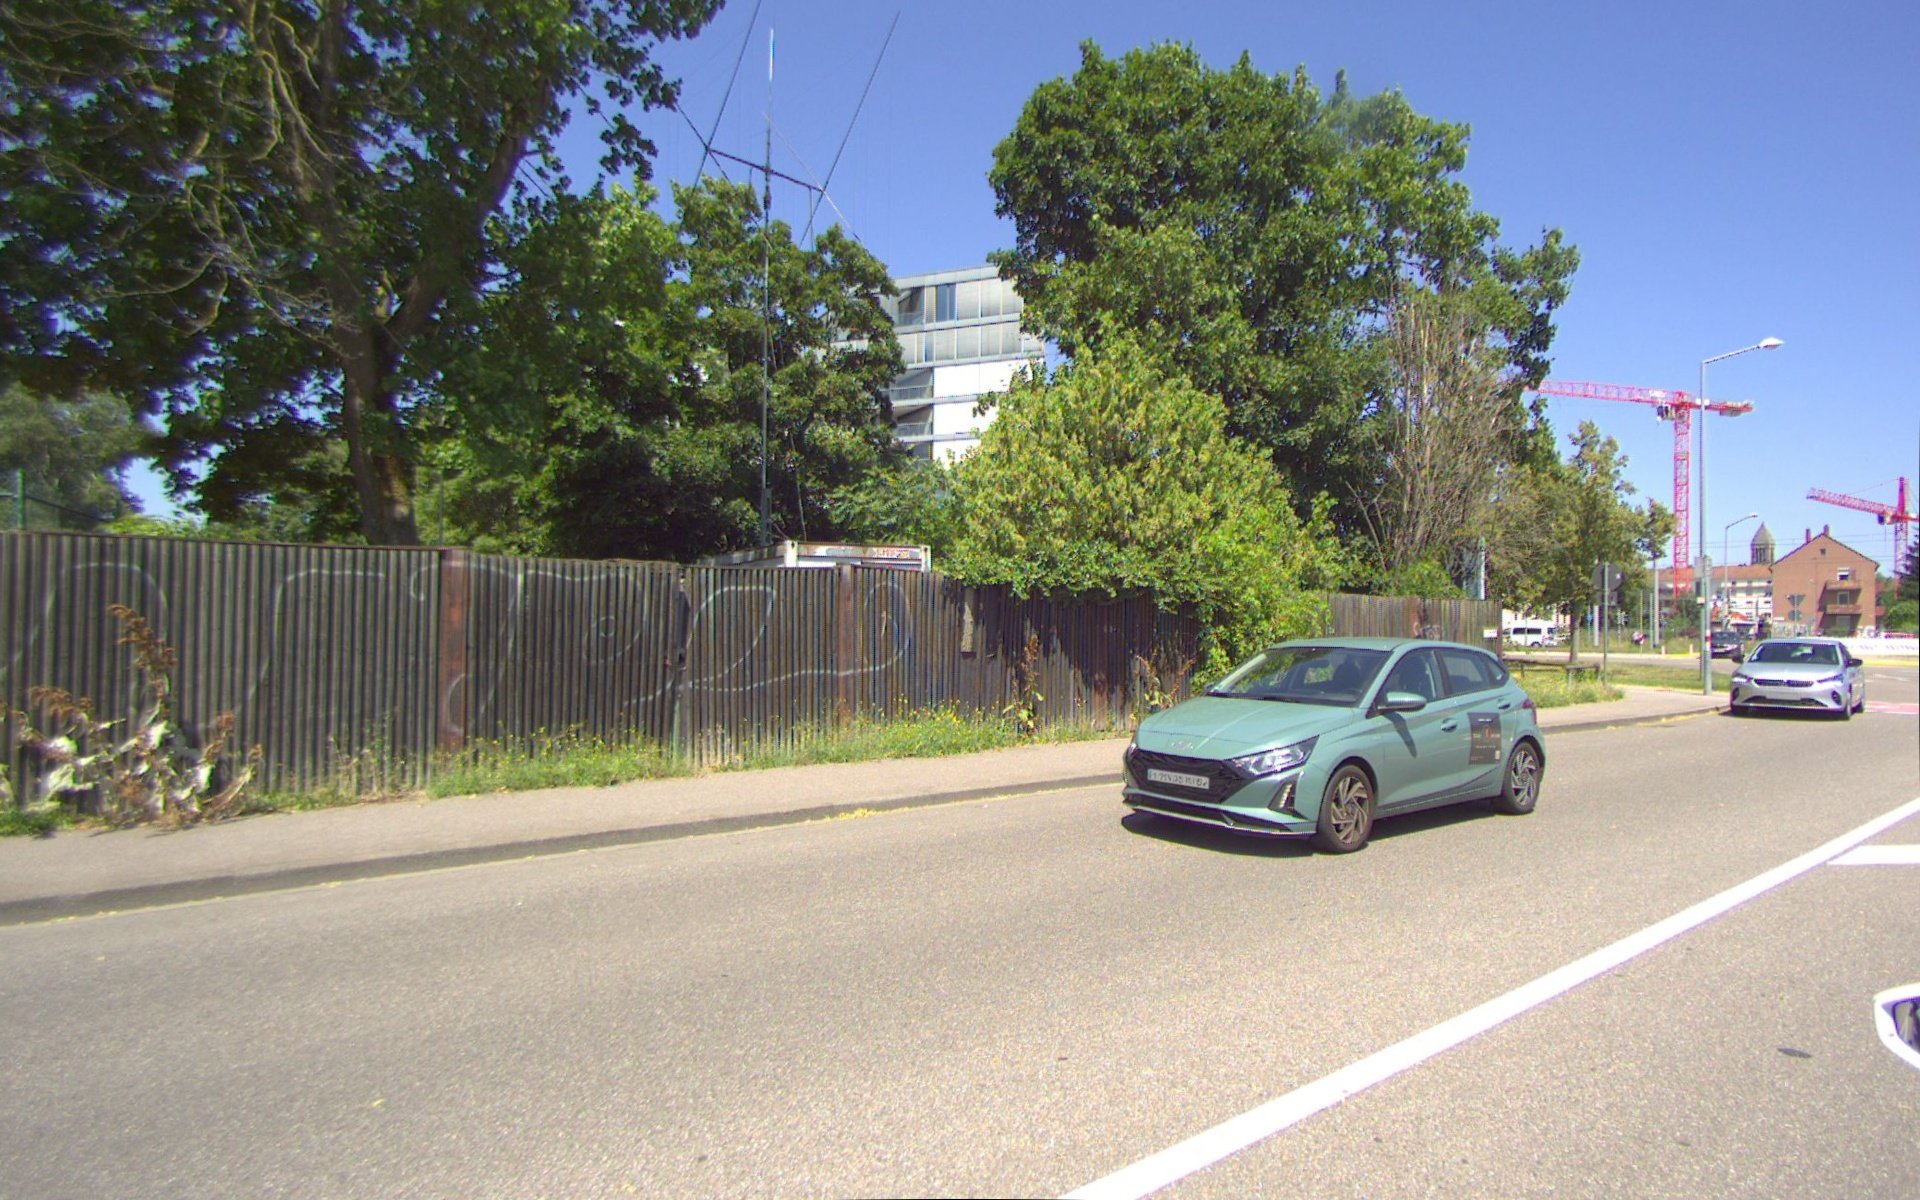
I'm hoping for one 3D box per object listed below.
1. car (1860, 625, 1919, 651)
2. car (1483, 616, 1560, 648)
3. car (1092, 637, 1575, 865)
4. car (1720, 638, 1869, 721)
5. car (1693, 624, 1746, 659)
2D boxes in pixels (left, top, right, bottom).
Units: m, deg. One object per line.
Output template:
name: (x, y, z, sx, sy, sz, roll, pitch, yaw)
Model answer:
car: (66.236, 2.663, 70.441, 4.259, 1.676, 1.902, 2, 0, 14)
car: (46.676, 2.645, 83.601, 1.976, 2.429, 5.271, 2, 0, -37)
car: (3.224, 1.013, 8.275, 4.291, 1.390, 1.734, 1, -2, -37)
car: (16.192, 1.450, 19.422, 4.241, 1.421, 1.711, 2, -3, -43)
car: (40.194, 2.162, 53.147, 1.732, 1.728, 3.975, 2, 0, 44)
